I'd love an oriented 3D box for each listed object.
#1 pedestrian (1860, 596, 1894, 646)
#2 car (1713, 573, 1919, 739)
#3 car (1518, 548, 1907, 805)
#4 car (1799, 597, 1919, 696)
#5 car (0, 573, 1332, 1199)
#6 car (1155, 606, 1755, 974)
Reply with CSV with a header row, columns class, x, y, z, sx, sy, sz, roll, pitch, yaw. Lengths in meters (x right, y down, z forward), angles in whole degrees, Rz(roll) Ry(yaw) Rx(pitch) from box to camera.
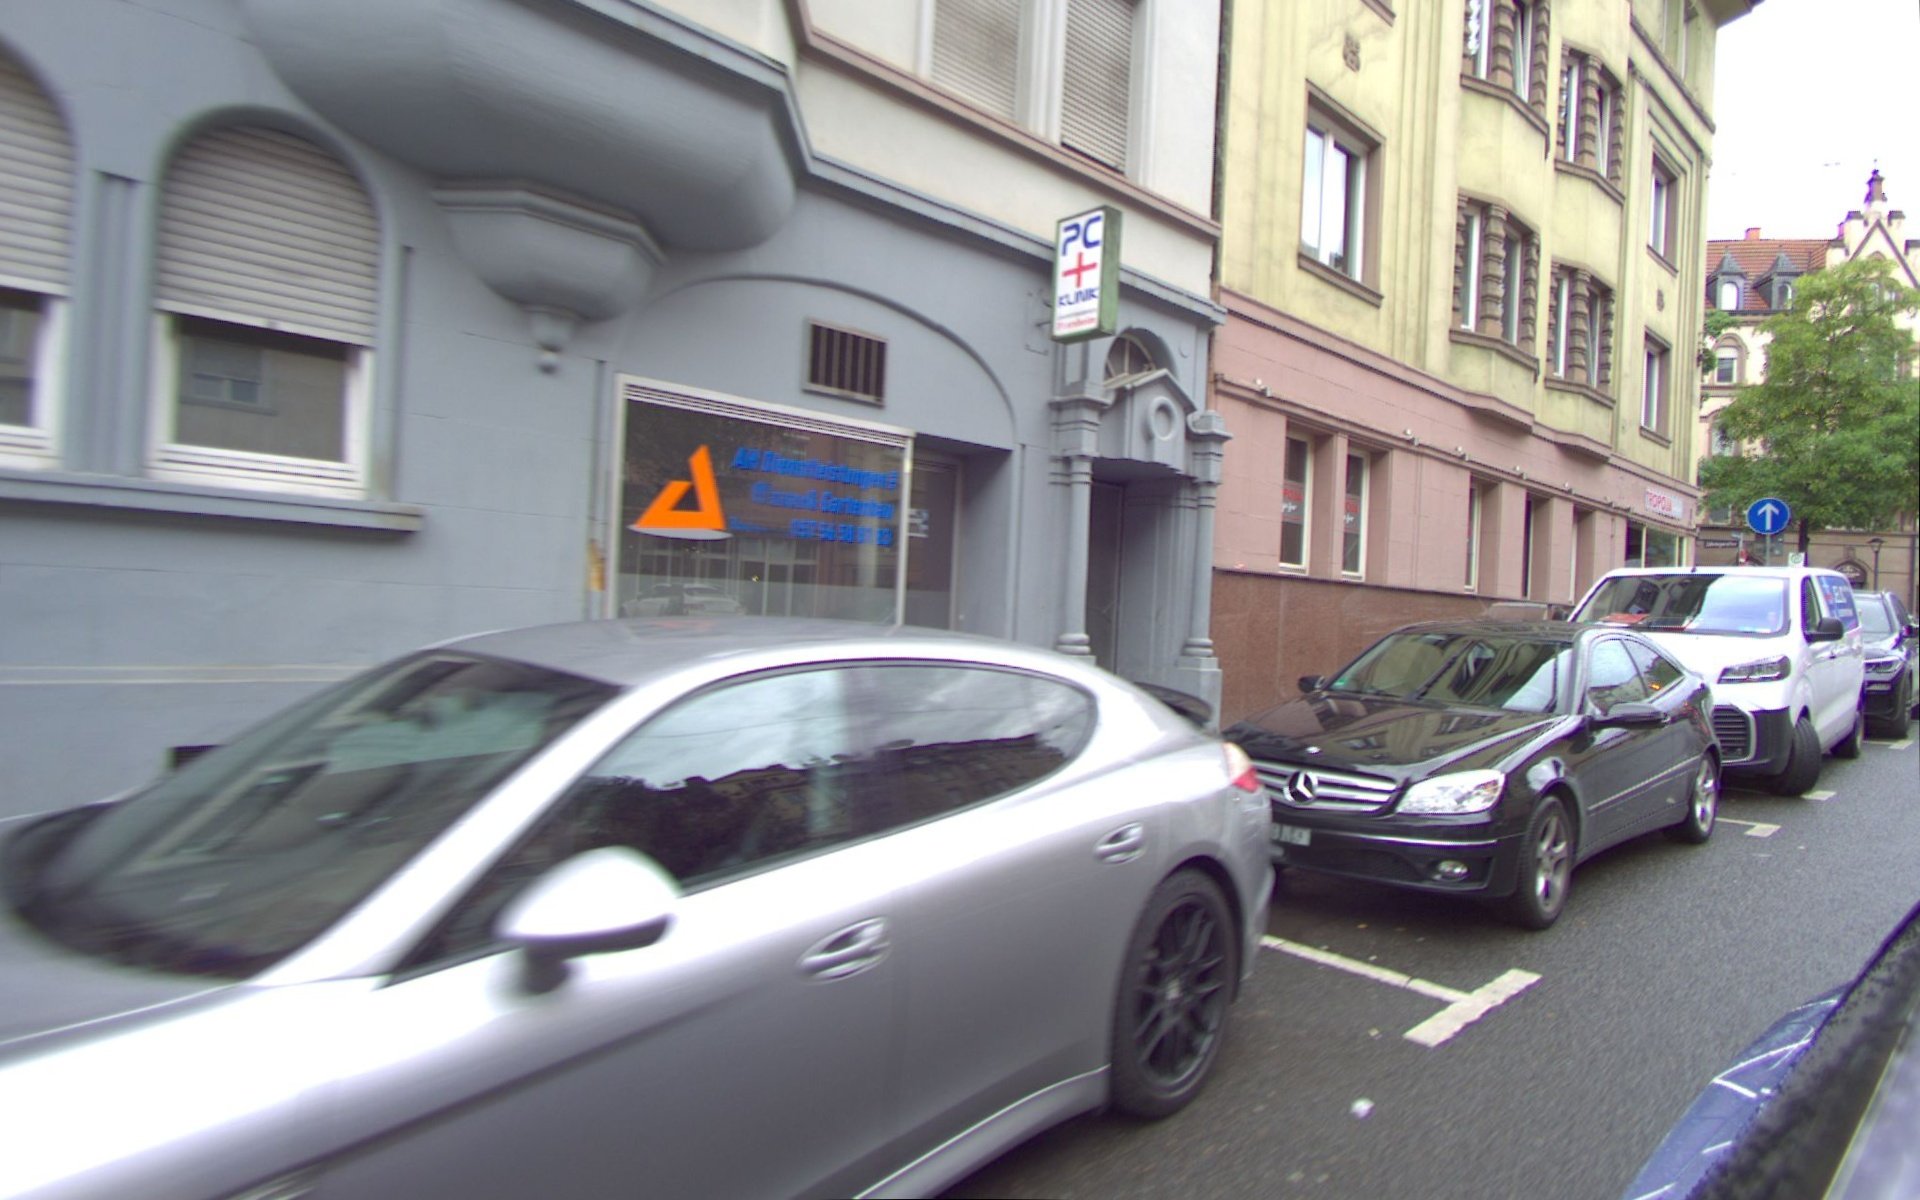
class,x,y,z,sx,sy,sz,roll,pitch,yaw
pedestrian,32.605,0.741,35.982,0.716,1.756,0.574,0,-1,-14
car,11.626,0.594,13.222,4.594,1.753,1.883,0,2,-41
car,7.363,0.520,9.678,4.921,1.850,1.923,0,2,-41
car,16.515,0.742,18.014,4.415,1.584,1.801,0,0,-42
car,-0.934,0.705,2.568,1.875,1.486,4.700,0,0,43
car,3.138,0.754,5.970,4.201,1.392,1.680,0,0,-41
